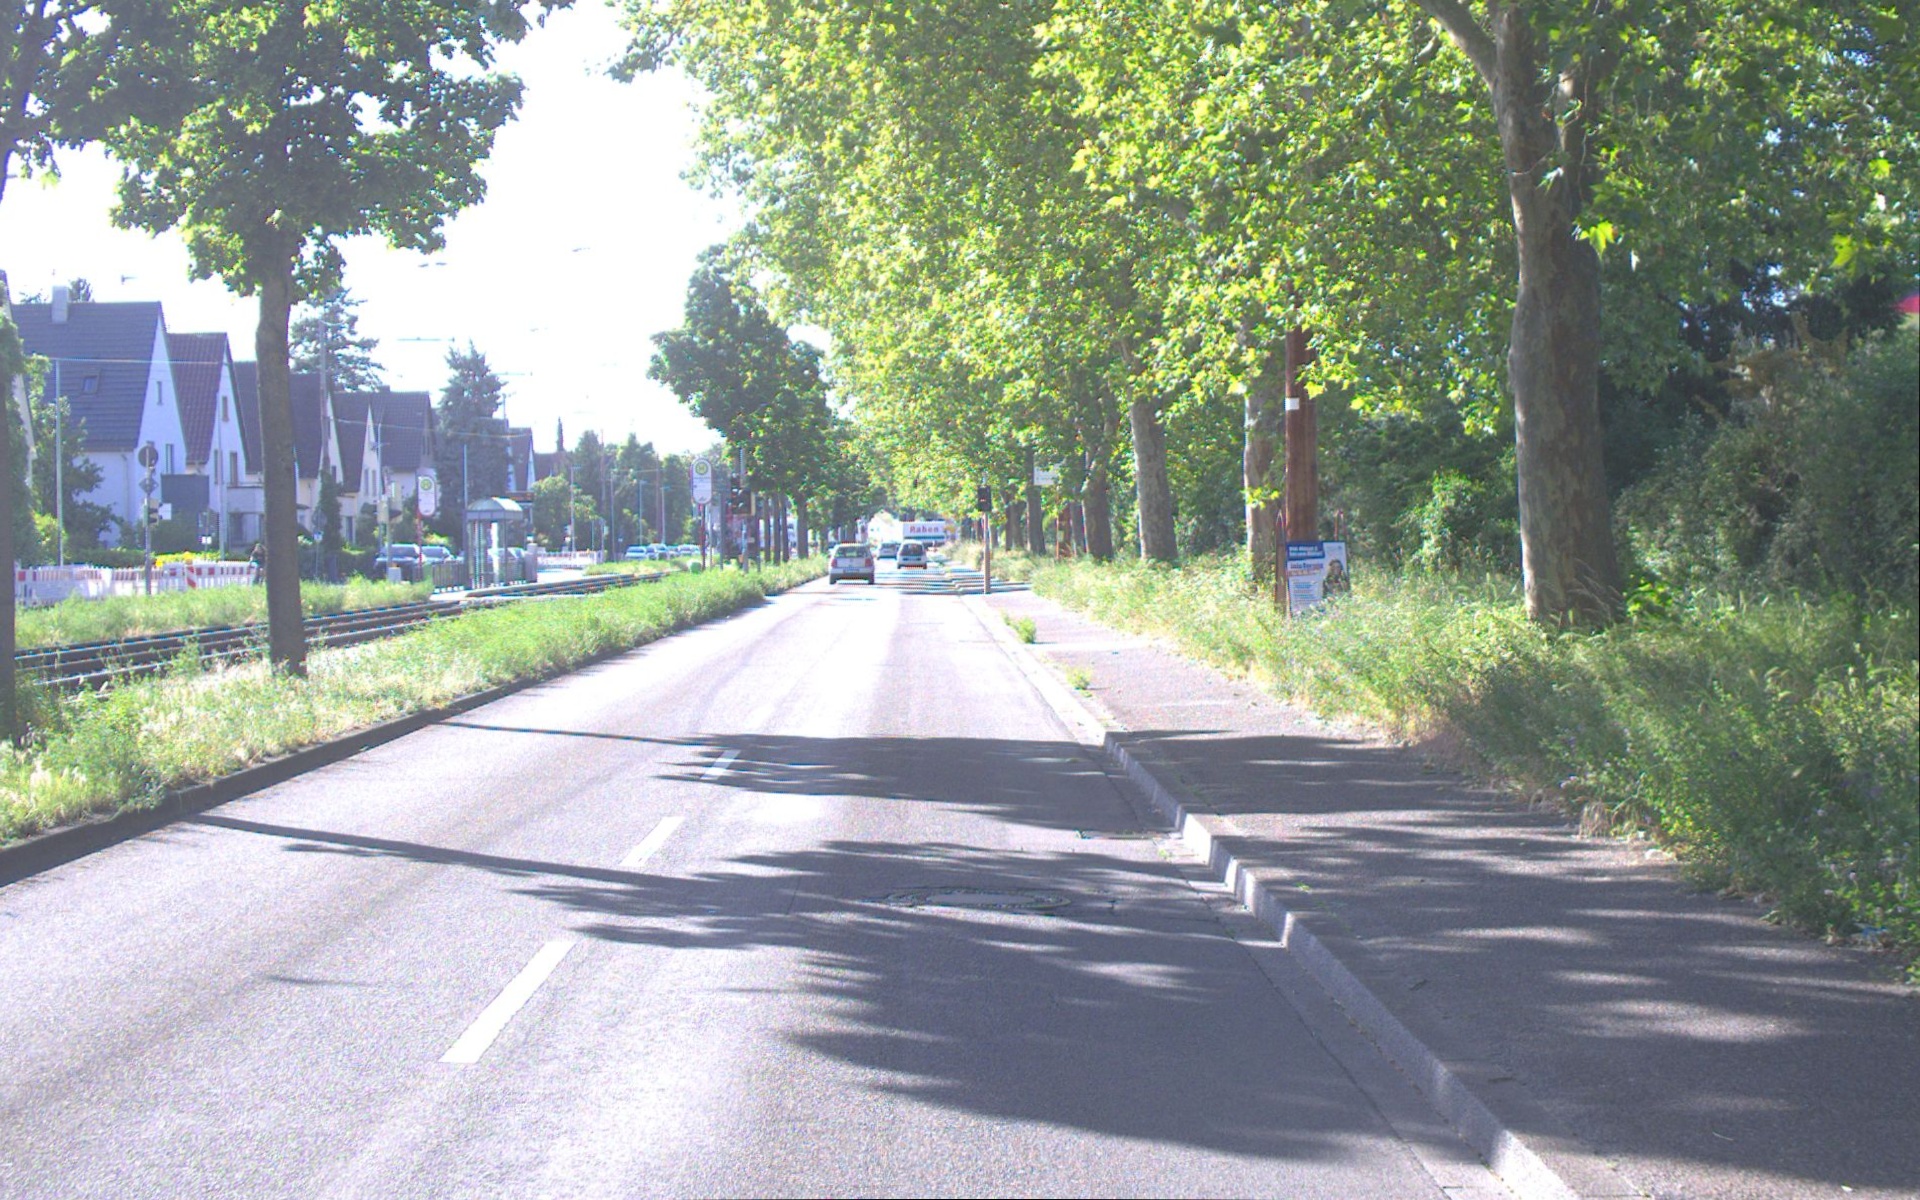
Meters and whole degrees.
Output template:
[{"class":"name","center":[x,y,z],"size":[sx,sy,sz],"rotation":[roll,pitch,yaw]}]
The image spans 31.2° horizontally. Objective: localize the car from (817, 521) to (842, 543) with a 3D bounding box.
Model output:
[{"class":"car","center":[-8.722,-4.569,230.032],"size":[1.527,1.450,3.287],"rotation":[0,1,0]}]

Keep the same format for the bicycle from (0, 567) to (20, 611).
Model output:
[{"class":"bicycle","center":[-20.251,-0.234,72.554],"size":[0.441,0.898,2.061],"rotation":[0,1,-5]}]

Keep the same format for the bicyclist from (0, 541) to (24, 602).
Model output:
[{"class":"bicyclist","center":[-20.253,-0.601,72.610],"size":[0.798,1.273,0.737],"rotation":[0,1,-3]}]

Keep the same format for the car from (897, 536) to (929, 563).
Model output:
[{"class":"car","center":[-2.615,-2.816,192.335],"size":[1.761,1.508,3.277],"rotation":[0,1,0]}]

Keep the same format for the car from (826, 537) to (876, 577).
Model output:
[{"class":"car","center":[-3.921,-1.555,123.686],"size":[1.738,1.396,3.277],"rotation":[0,1,-1]}]
